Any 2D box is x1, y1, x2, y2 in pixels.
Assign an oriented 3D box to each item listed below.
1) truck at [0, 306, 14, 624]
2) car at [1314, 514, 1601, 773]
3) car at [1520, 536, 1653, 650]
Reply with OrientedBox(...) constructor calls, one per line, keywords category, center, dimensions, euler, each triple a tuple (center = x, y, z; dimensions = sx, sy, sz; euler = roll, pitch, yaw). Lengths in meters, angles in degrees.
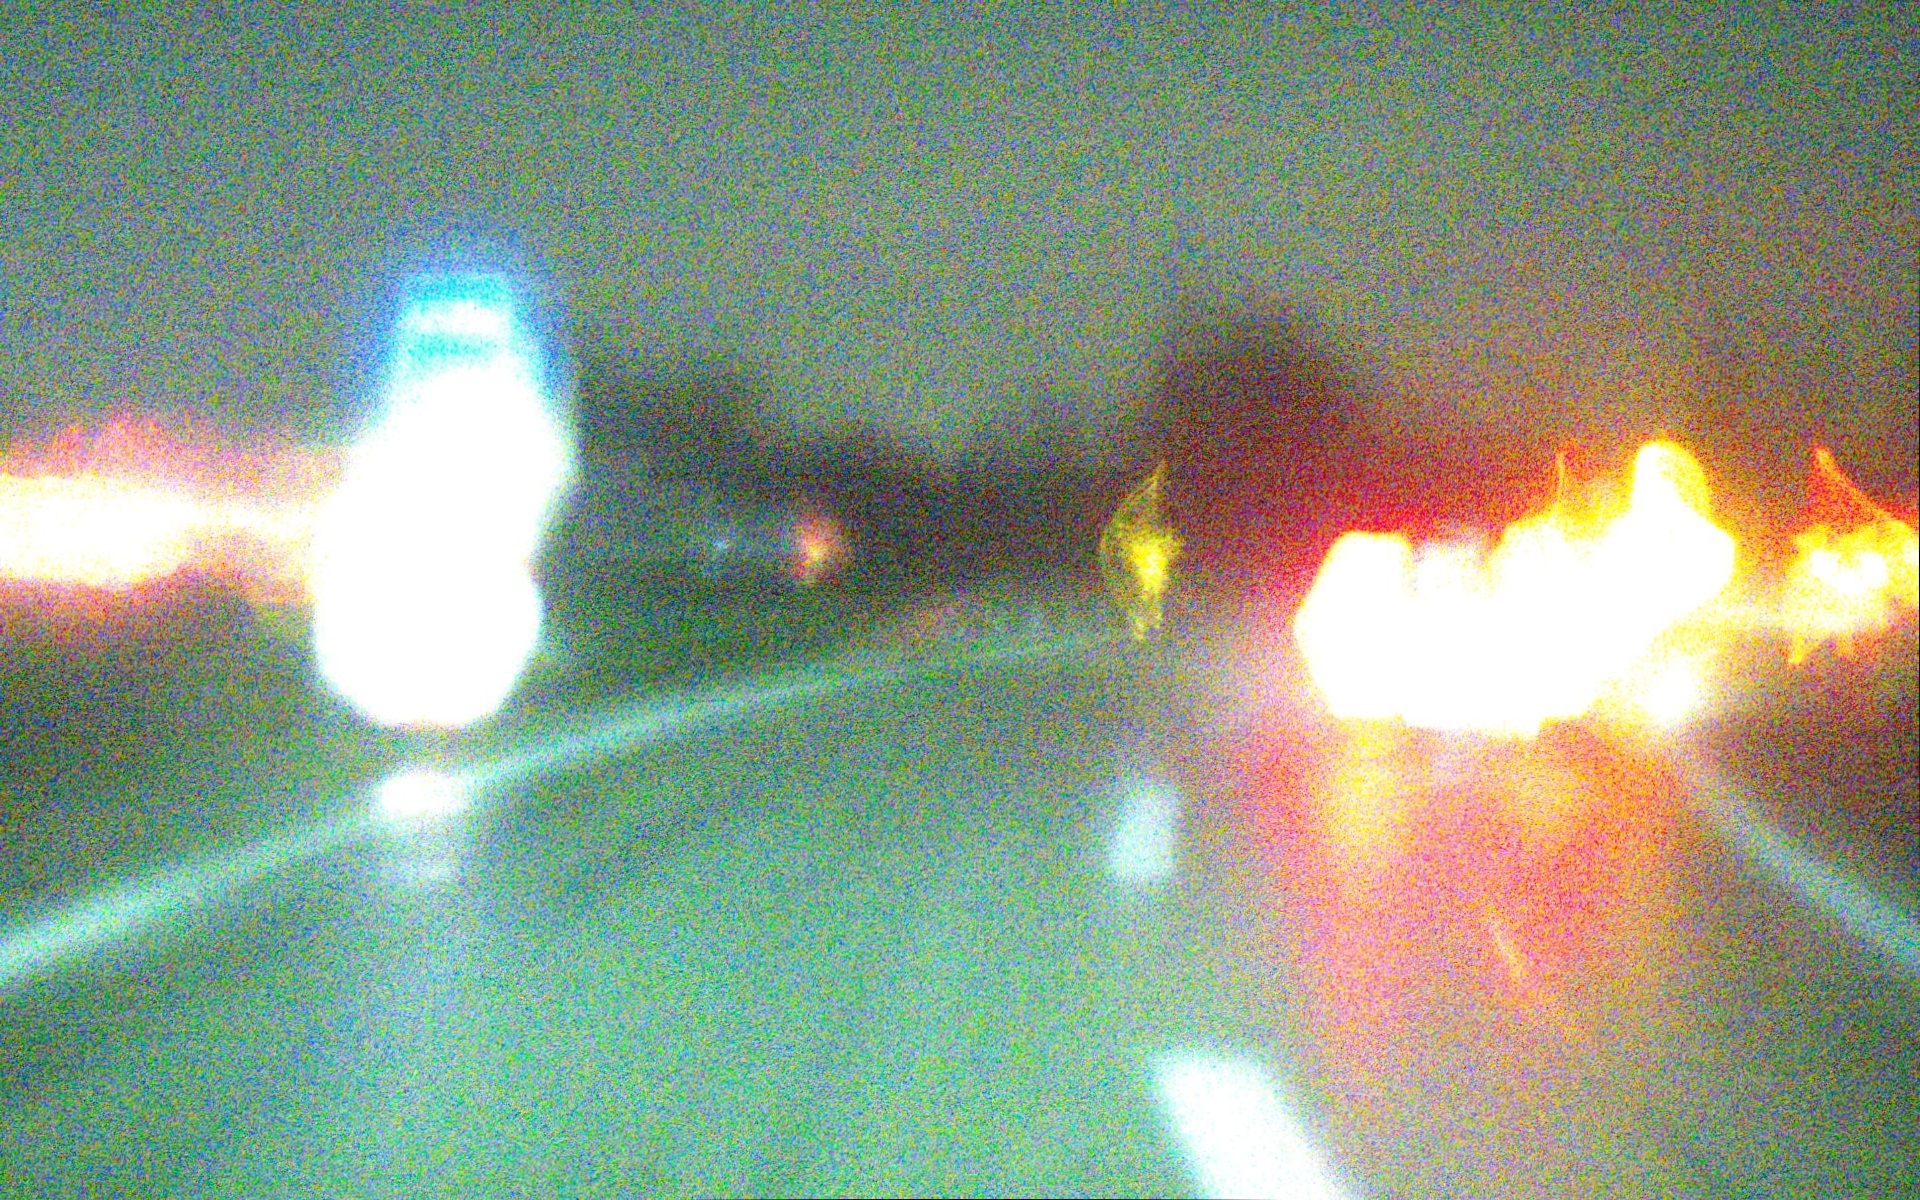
OrientedBox(category="truck", center=(-18.496, -2.362, 57.258), dimensions=(4.209, 5.629, 11.471), euler=(2, 1, -11))
OrientedBox(category="car", center=(3.830, 0.296, 26.883), dimensions=(1.994, 1.801, 3.999), euler=(2, 1, 7))
OrientedBox(category="car", center=(10.645, -0.128, 58.210), dimensions=(1.995, 1.801, 3.998), euler=(2, 1, 13))
